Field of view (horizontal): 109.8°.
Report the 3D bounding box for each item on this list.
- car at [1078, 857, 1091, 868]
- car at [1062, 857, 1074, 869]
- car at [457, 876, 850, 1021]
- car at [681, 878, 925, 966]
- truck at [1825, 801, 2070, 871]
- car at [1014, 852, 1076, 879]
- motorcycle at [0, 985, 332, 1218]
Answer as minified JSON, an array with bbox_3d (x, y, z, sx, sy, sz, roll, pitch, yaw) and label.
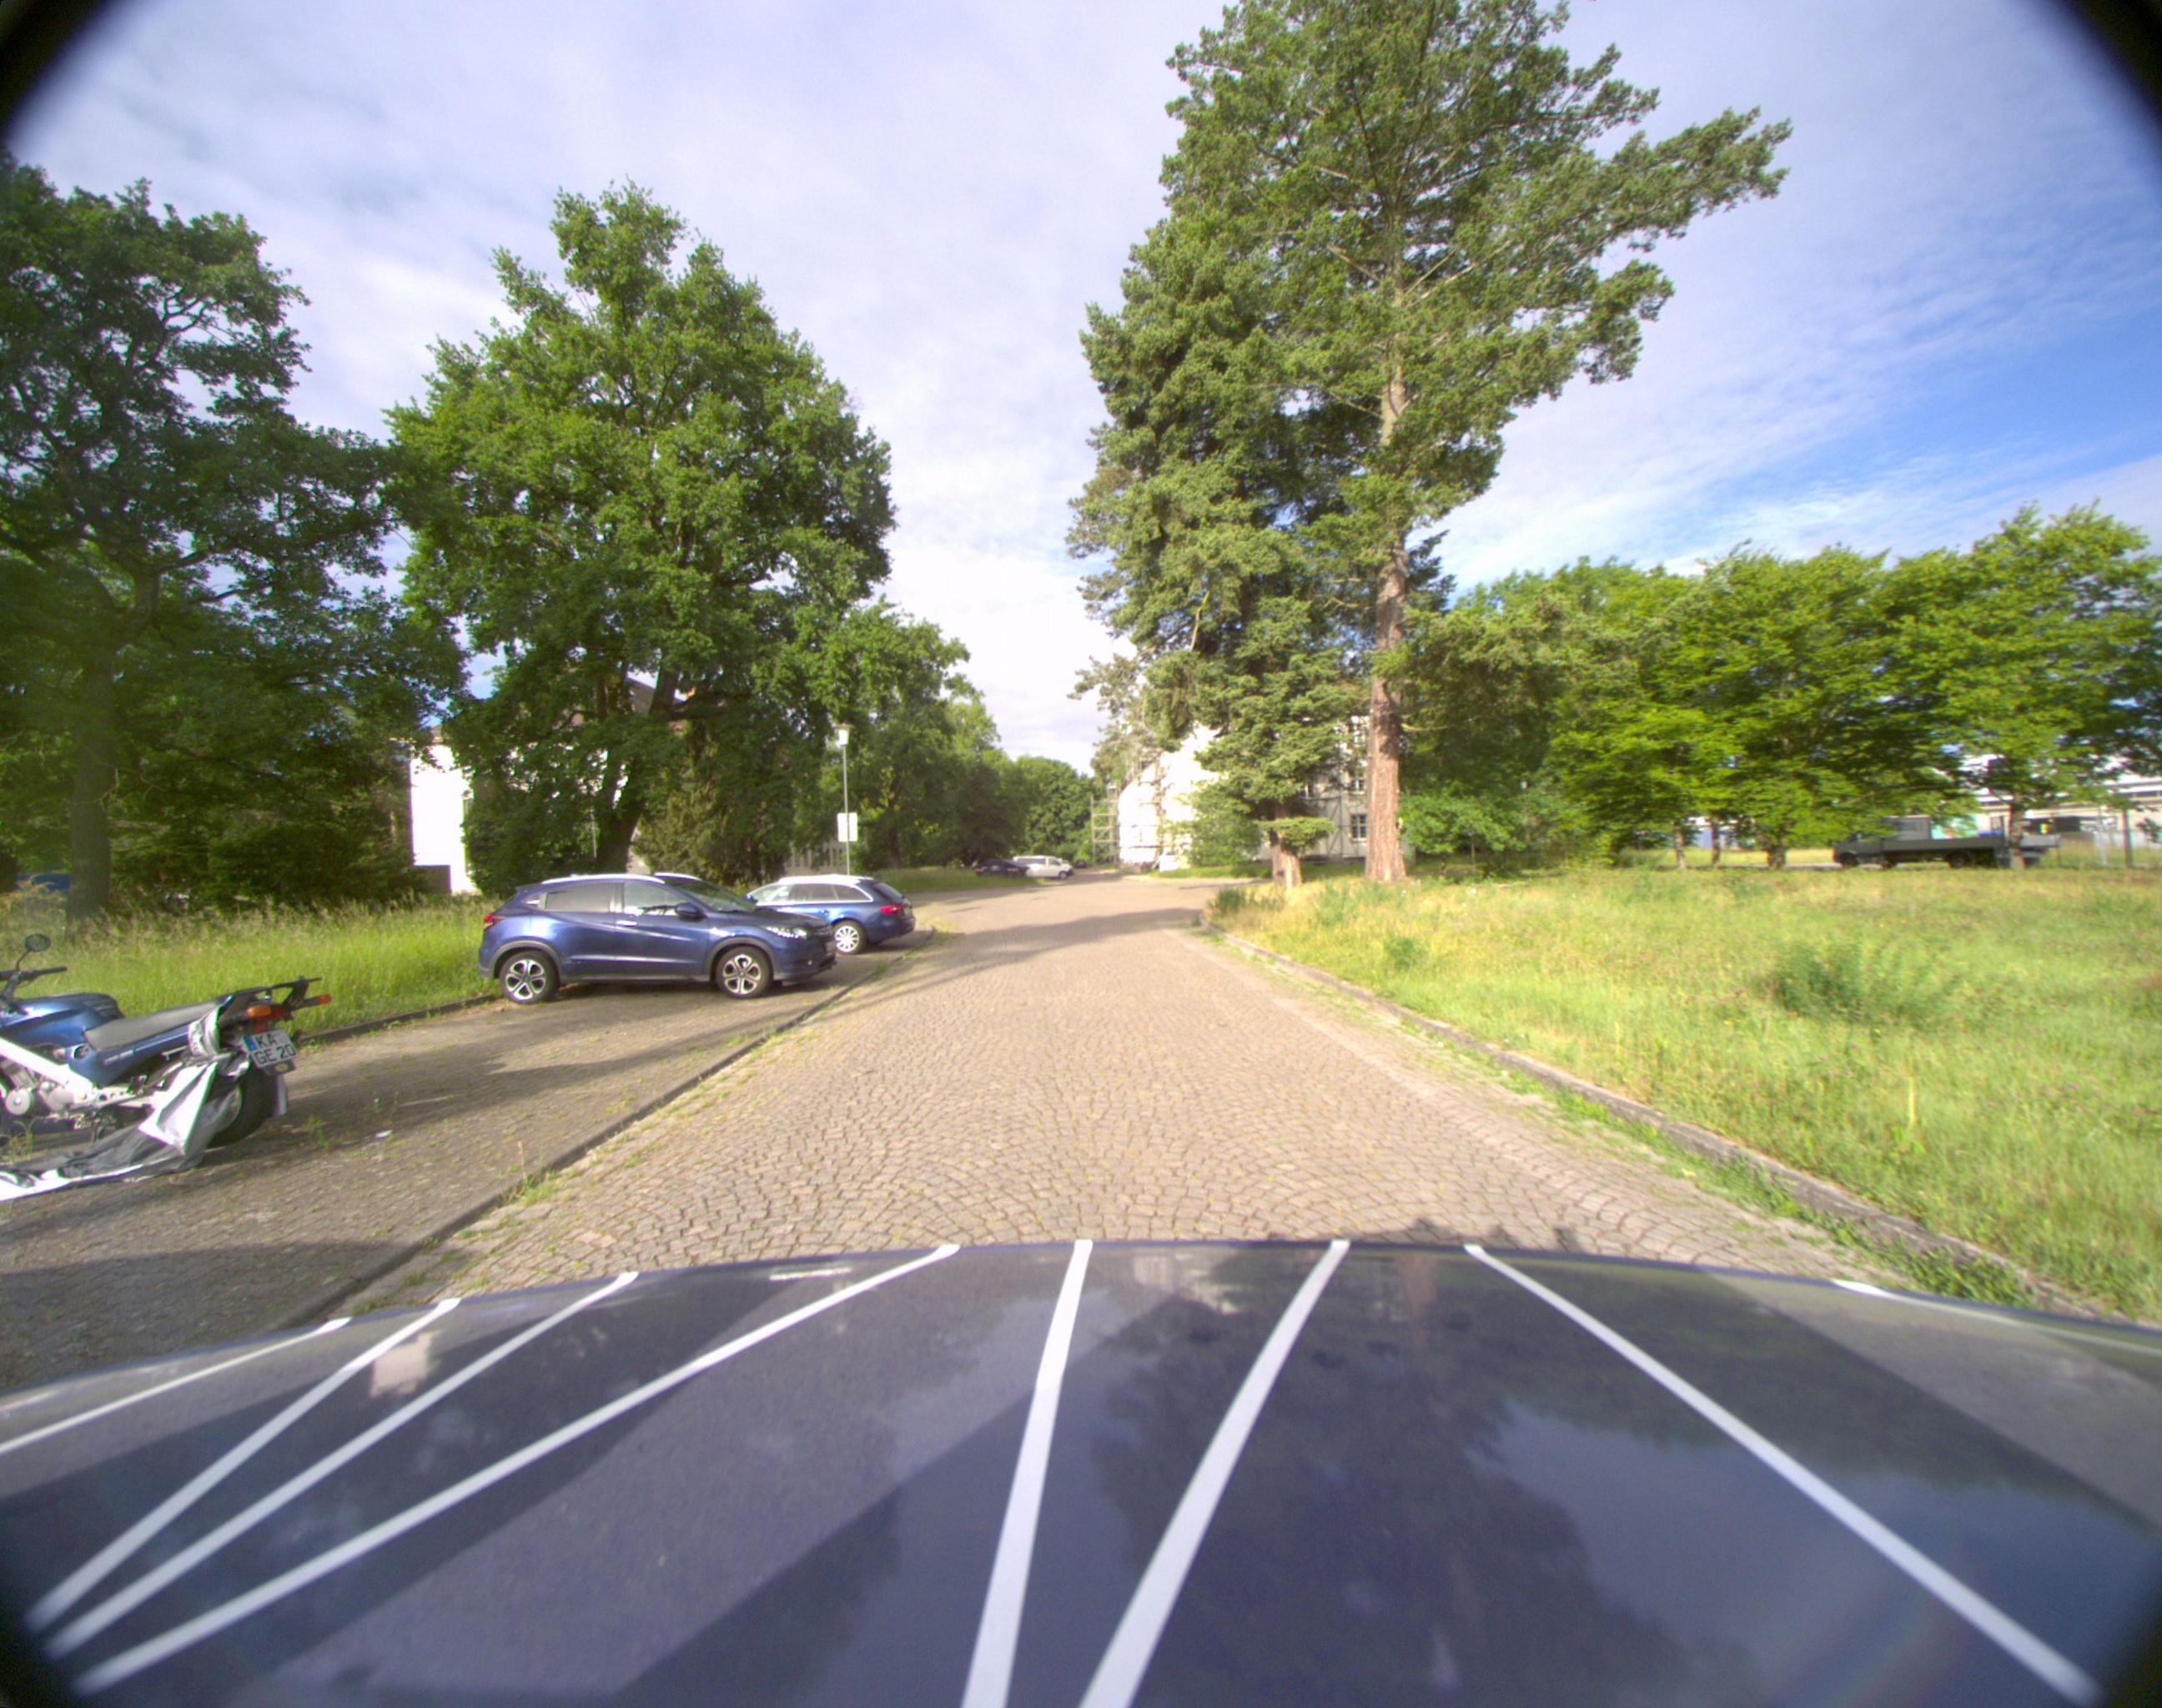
[{"bbox_3d":[0.523,1.475,130.260,1.999,1.762,4.108,-2,1,-2],"label":"car"},{"bbox_3d":[-2.200,1.488,129.953,1.875,1.888,3.999,-2,1,-2],"label":"car"},{"bbox_3d":[-5.414,1.161,10.062,4.136,1.560,1.746,-1,1,-2],"label":"car"},{"bbox_3d":[-5.256,1.270,14.767,4.036,1.442,1.783,-1,1,0],"label":"car"},{"bbox_3d":[36.121,-0.657,32.161,2.417,2.571,6.958,-2,0,1],"label":"truck"},{"bbox_3d":[-2.997,0.950,63.807,5.079,2.029,2.000,-2,0,-2],"label":"car"},{"bbox_3d":[-5.734,1.374,4.318,2.307,1.107,0.607,-1,1,0],"label":"motorcycle"}]
